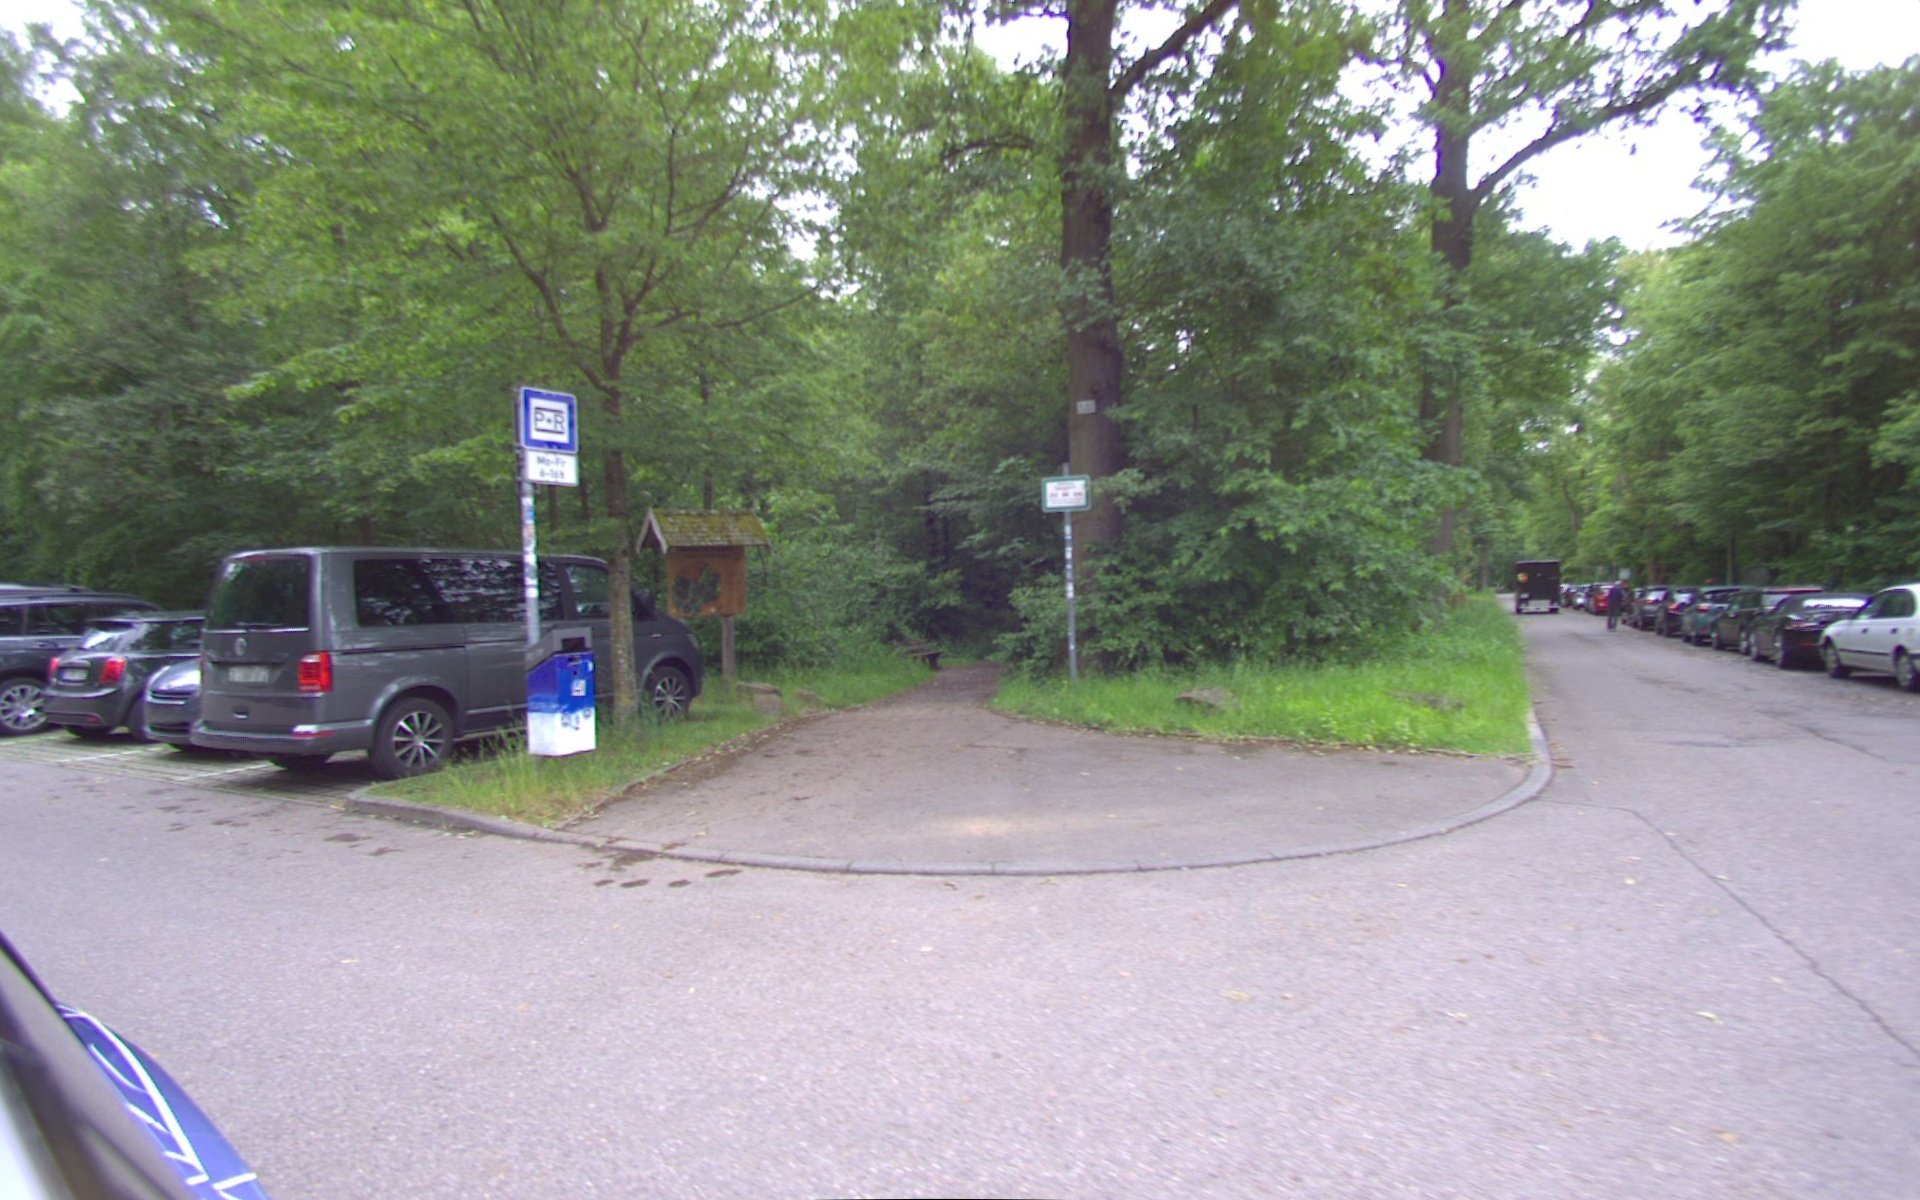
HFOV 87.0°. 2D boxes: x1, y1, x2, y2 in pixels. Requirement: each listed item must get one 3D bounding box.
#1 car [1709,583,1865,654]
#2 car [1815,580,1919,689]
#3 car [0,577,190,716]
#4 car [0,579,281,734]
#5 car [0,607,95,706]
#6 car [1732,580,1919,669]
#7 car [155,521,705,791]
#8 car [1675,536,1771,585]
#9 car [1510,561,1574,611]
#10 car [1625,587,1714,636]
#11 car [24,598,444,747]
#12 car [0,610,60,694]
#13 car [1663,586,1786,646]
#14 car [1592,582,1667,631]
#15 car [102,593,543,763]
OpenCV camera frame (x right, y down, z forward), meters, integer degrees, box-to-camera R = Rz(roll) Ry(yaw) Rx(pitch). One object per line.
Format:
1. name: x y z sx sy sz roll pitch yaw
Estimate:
1. car: 17.801 0.399 21.971 1.681 1.369 3.601 -3 -2 24
2. car: 13.287 0.411 13.535 1.681 1.369 4.185 -3 -2 24
3. car: -13.815 0.659 14.549 1.803 1.876 3.966 -1 1 25
4. car: -11.650 0.667 13.457 1.813 1.779 3.968 -1 1 24
5. car: -16.040 0.942 15.417 1.768 1.487 3.969 -1 1 23
6. car: 15.206 0.426 17.816 1.681 1.369 3.836 -3 -2 24
7. car: -4.773 0.408 9.899 1.882 1.993 4.474 -2 0 28
8. car: 26.855 -1.359 35.732 1.947 1.631 3.609 0 1 25
9. car: 31.741 -0.777 55.372 2.568 2.553 4.893 -2 0 26
10. car: 21.750 0.371 31.140 1.562 1.369 3.490 -3 -2 24
11. car: -8.905 0.781 12.821 1.711 1.440 3.965 -1 1 26
12. car: -18.125 0.983 17.138 1.661 1.449 3.970 -1 1 23
13. car: 19.522 0.413 26.001 1.681 1.369 3.601 -3 -2 24
14. car: 23.618 0.217 35.810 1.611 1.604 3.490 -3 0 24
15. car: -6.878 0.721 11.341 1.801 1.524 3.791 -2 0 28
